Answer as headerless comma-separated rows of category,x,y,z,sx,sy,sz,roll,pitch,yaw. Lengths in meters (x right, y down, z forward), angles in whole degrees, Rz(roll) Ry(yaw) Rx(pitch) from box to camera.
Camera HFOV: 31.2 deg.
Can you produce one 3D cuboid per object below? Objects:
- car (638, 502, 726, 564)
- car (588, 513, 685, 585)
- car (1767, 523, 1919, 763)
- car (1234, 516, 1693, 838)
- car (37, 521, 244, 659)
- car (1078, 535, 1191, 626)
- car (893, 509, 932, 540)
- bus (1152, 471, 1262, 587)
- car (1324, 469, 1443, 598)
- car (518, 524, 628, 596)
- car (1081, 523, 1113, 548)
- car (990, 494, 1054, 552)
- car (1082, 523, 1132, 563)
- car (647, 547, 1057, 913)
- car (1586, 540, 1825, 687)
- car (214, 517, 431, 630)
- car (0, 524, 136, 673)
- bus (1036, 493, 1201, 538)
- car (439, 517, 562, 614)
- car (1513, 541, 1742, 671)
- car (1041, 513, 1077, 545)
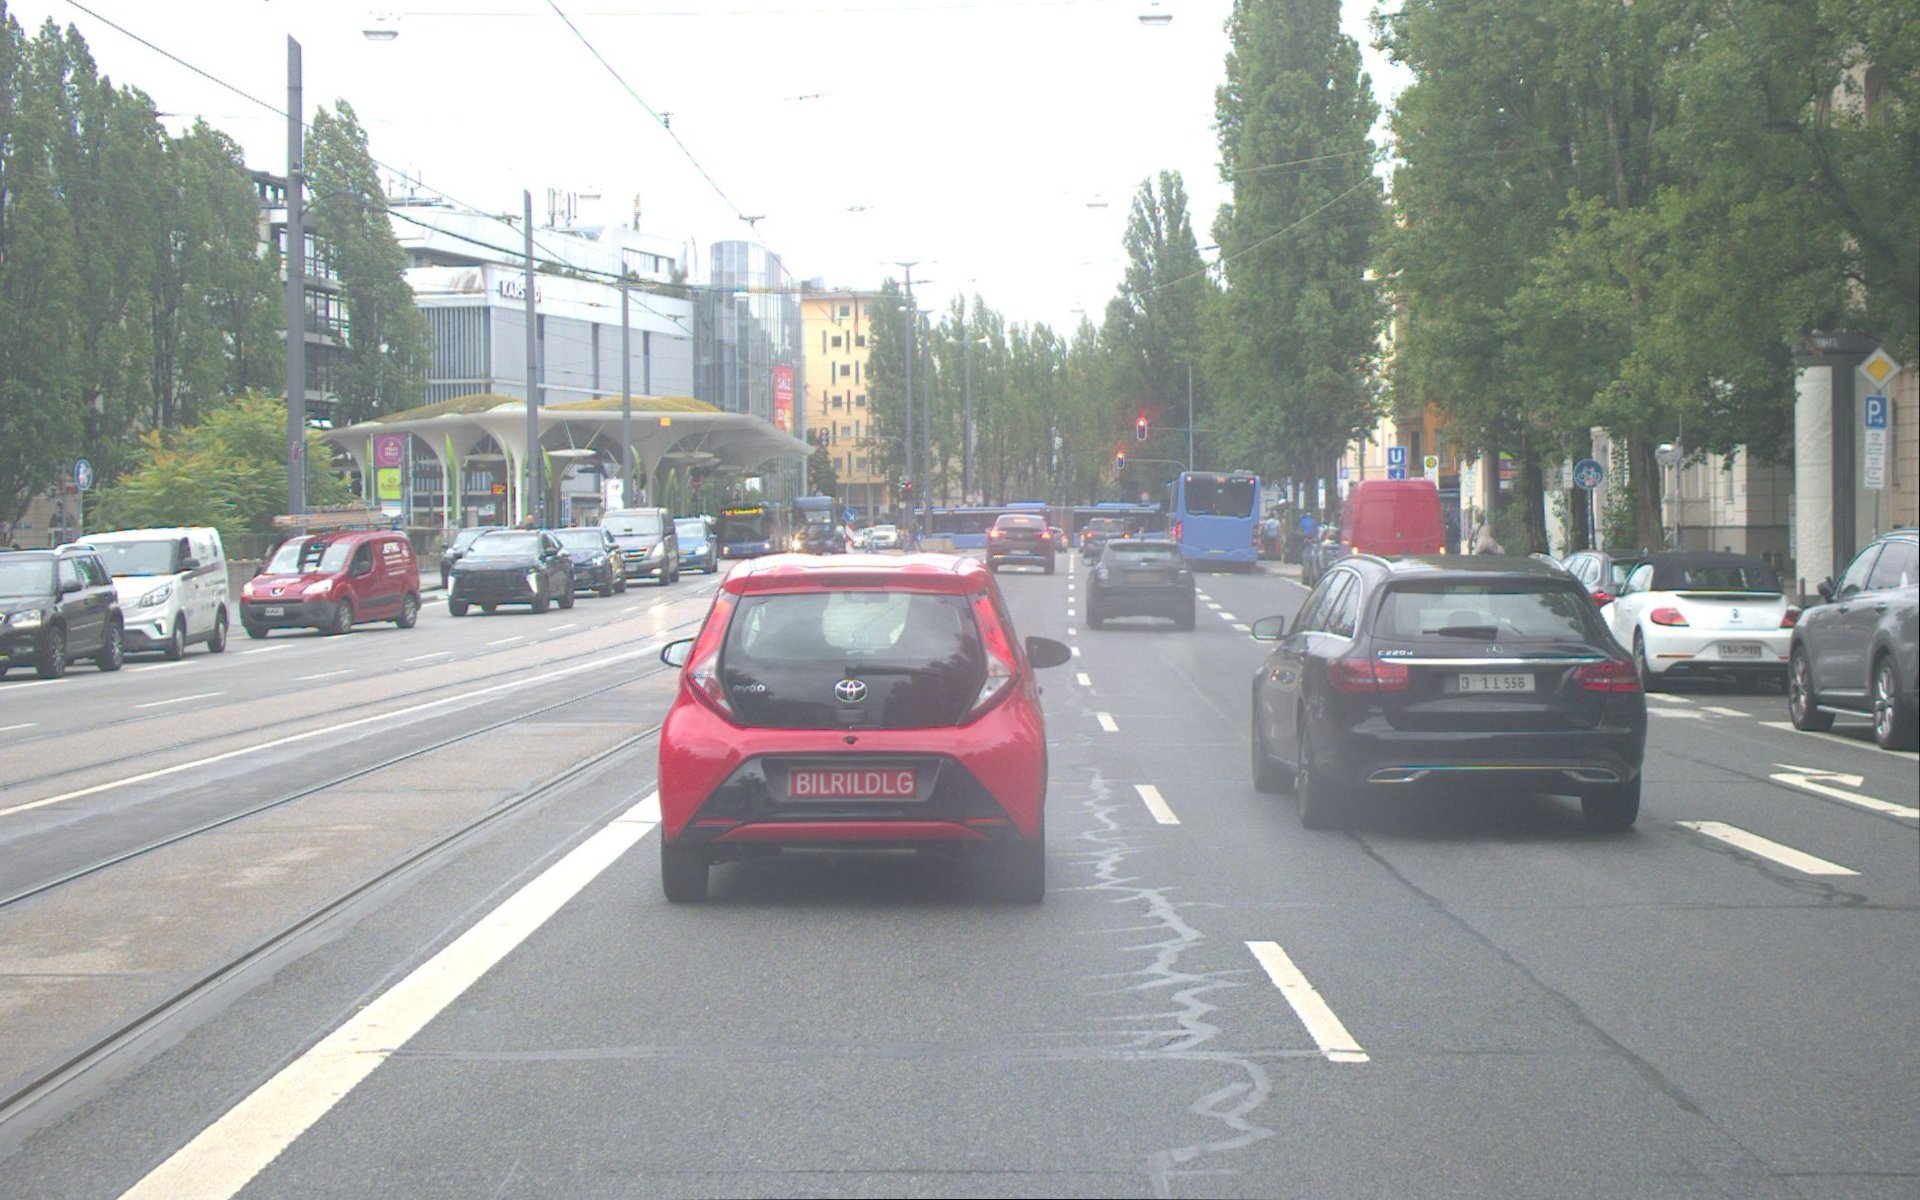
car,-7.910,-1.922,98.264,1.799,1.659,4.518,-2,1,4
car,-8.058,-1.280,85.882,1.799,1.659,4.519,-2,1,2
car,7.852,0.260,27.196,1.799,1.737,4.701,-1,1,0
car,2.701,0.327,19.501,1.863,1.543,4.704,-1,2,0
car,-11.876,-0.178,50.107,1.799,1.855,4.631,-2,1,1
car,2.928,-0.352,58.280,1.781,1.481,4.000,0,1,1
car,-2.284,-3.652,167.014,1.781,1.481,4.000,0,1,1
bus,7.768,-2.351,109.490,2.906,3.384,10.807,0,3,1
car,8.838,-1.442,72.119,1.993,2.565,4.680,0,3,1
car,-8.810,-0.930,78.498,1.799,1.525,4.519,-2,1,2
car,8.113,-3.821,203.325,1.781,1.481,4.000,0,1,1
car,1.711,-2.145,95.461,1.736,1.544,4.576,-1,1,1
car,5.554,-2.164,130.489,1.781,1.481,4.000,0,1,1
car,-0.477,0.498,15.467,1.628,1.435,3.377,1,1,-2
car,8.039,0.104,37.414,1.799,1.503,4.000,0,1,1
car,-10.900,-0.480,59.103,1.800,1.782,4.516,-2,1,16
car,-11.998,-0.027,43.728,1.799,1.782,4.519,-2,1,1
bus,10.299,-5.507,223.668,10.554,2.836,2.001,0,3,-2
car,-9.048,-0.698,68.037,1.799,1.782,4.519,-2,1,0
car,8.103,0.030,42.100,1.799,1.503,4.451,0,1,-2
car,5.598,-3.999,194.411,1.804,1.590,3.999,0,-2,5
